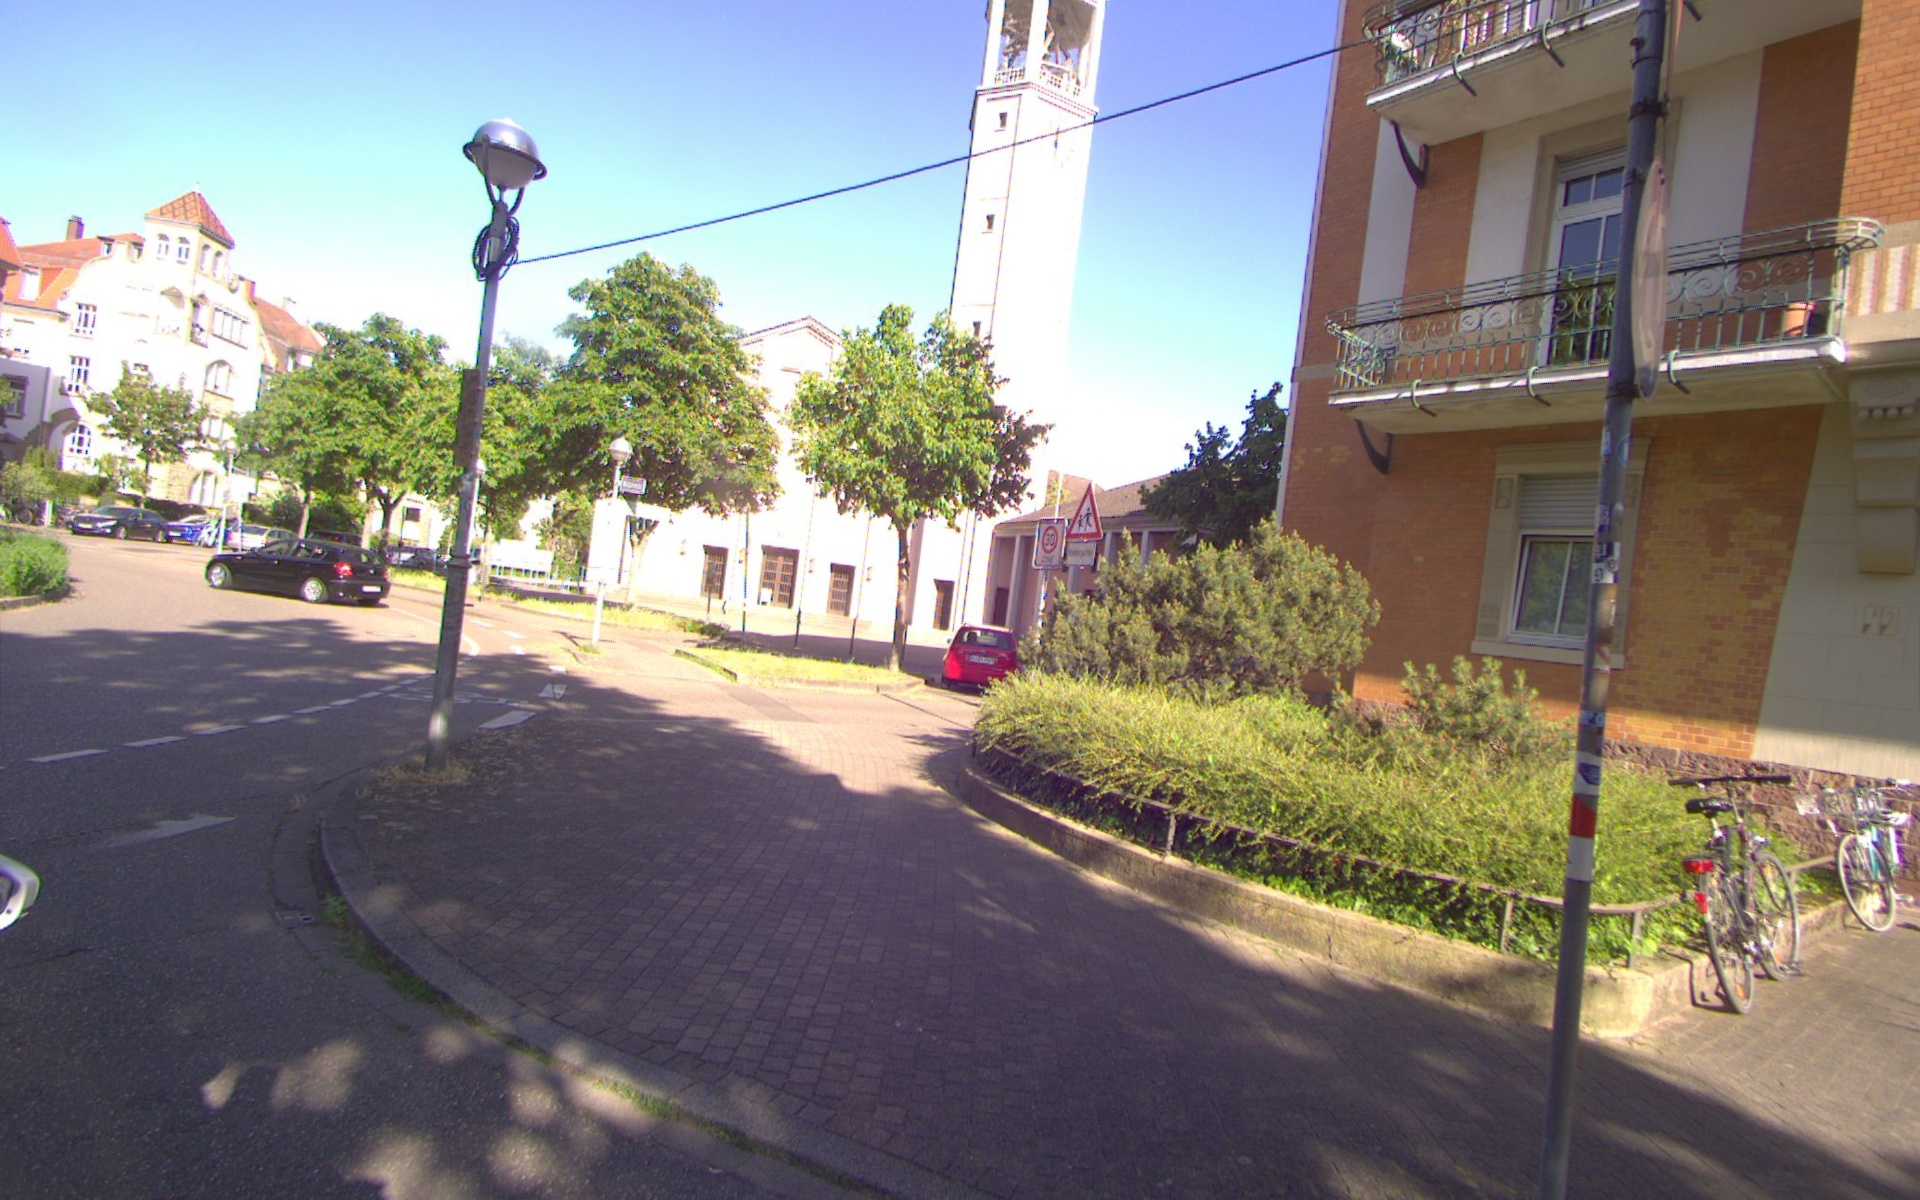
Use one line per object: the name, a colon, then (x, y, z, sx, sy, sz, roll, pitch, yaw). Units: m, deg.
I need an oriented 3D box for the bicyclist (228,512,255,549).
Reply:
bicyclist: (-35.939, -3.472, 50.329, 0.634, 1.735, 0.723, 7, 0, -5)

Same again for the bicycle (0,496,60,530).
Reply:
bicycle: (-40.525, -3.762, 43.801, 1.806, 1.120, 0.498, 10, 0, -21)

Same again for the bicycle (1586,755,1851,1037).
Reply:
bicycle: (4.113, 1.461, 5.387, 1.930, 1.135, 0.680, 7, 0, -42)

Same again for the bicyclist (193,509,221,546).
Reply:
bicyclist: (-35.399, -3.398, 47.292, 0.585, 1.600, 0.804, 6, 0, -4)

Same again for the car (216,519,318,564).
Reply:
car: (-29.900, -2.478, 43.550, 1.780, 1.432, 4.333, 8, -1, -9)

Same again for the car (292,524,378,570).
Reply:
car: (-30.109, -2.513, 48.621, 1.780, 1.748, 4.333, 8, -1, -9)

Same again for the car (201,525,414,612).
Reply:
car: (-15.230, -0.712, 23.564, 3.924, 1.436, 1.872, 8, 0, 12)

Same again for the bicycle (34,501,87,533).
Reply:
bicycle: (-40.800, -3.747, 45.643, 1.698, 1.120, 0.500, 9, 0, -8)

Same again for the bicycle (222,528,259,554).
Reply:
bicycle: (-35.998, -2.930, 50.341, 0.634, 1.121, 1.716, 7, -1, -4)

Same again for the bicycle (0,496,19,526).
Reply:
bicycle: (-40.460, -3.815, 41.949, 1.697, 1.128, 0.545, 9, 0, -5)

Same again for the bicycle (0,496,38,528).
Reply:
bicycle: (-40.504, -3.781, 42.889, 1.697, 1.128, 0.545, 9, 0, -5)

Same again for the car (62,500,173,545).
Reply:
car: (-37.598, -3.437, 45.042, 1.779, 1.502, 4.332, 5, -1, -10)

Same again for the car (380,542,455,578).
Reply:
car: (-30.429, -2.233, 56.610, 1.777, 1.491, 4.339, 8, -1, -1)

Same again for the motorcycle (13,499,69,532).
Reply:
motorcycle: (-40.616, -3.741, 44.479, 1.700, 1.120, 0.500, 10, 0, -12)

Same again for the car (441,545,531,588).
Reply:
car: (-30.485, -2.115, 64.769, 4.700, 2.024, 1.807, 9, -1, -9)

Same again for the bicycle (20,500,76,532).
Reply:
bicycle: (-40.801, -3.760, 45.022, 1.700, 1.120, 0.500, 10, 0, -12)

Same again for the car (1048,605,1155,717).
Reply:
car: (3.186, 1.341, 23.245, 1.956, 2.070, 4.709, 7, -1, 6)

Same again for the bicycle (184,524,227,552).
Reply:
bicycle: (-35.456, -2.915, 47.302, 0.585, 1.121, 1.862, 7, -1, -4)

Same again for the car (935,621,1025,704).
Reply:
car: (0.508, 1.307, 22.145, 1.638, 1.452, 3.698, 7, -1, 3)

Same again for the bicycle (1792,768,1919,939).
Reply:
bicycle: (6.917, 1.866, 7.622, 1.660, 1.085, 0.495, 7, 0, -37)

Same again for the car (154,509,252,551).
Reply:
car: (-37.920, -3.466, 50.554, 1.777, 1.581, 4.396, 5, -1, -5)
